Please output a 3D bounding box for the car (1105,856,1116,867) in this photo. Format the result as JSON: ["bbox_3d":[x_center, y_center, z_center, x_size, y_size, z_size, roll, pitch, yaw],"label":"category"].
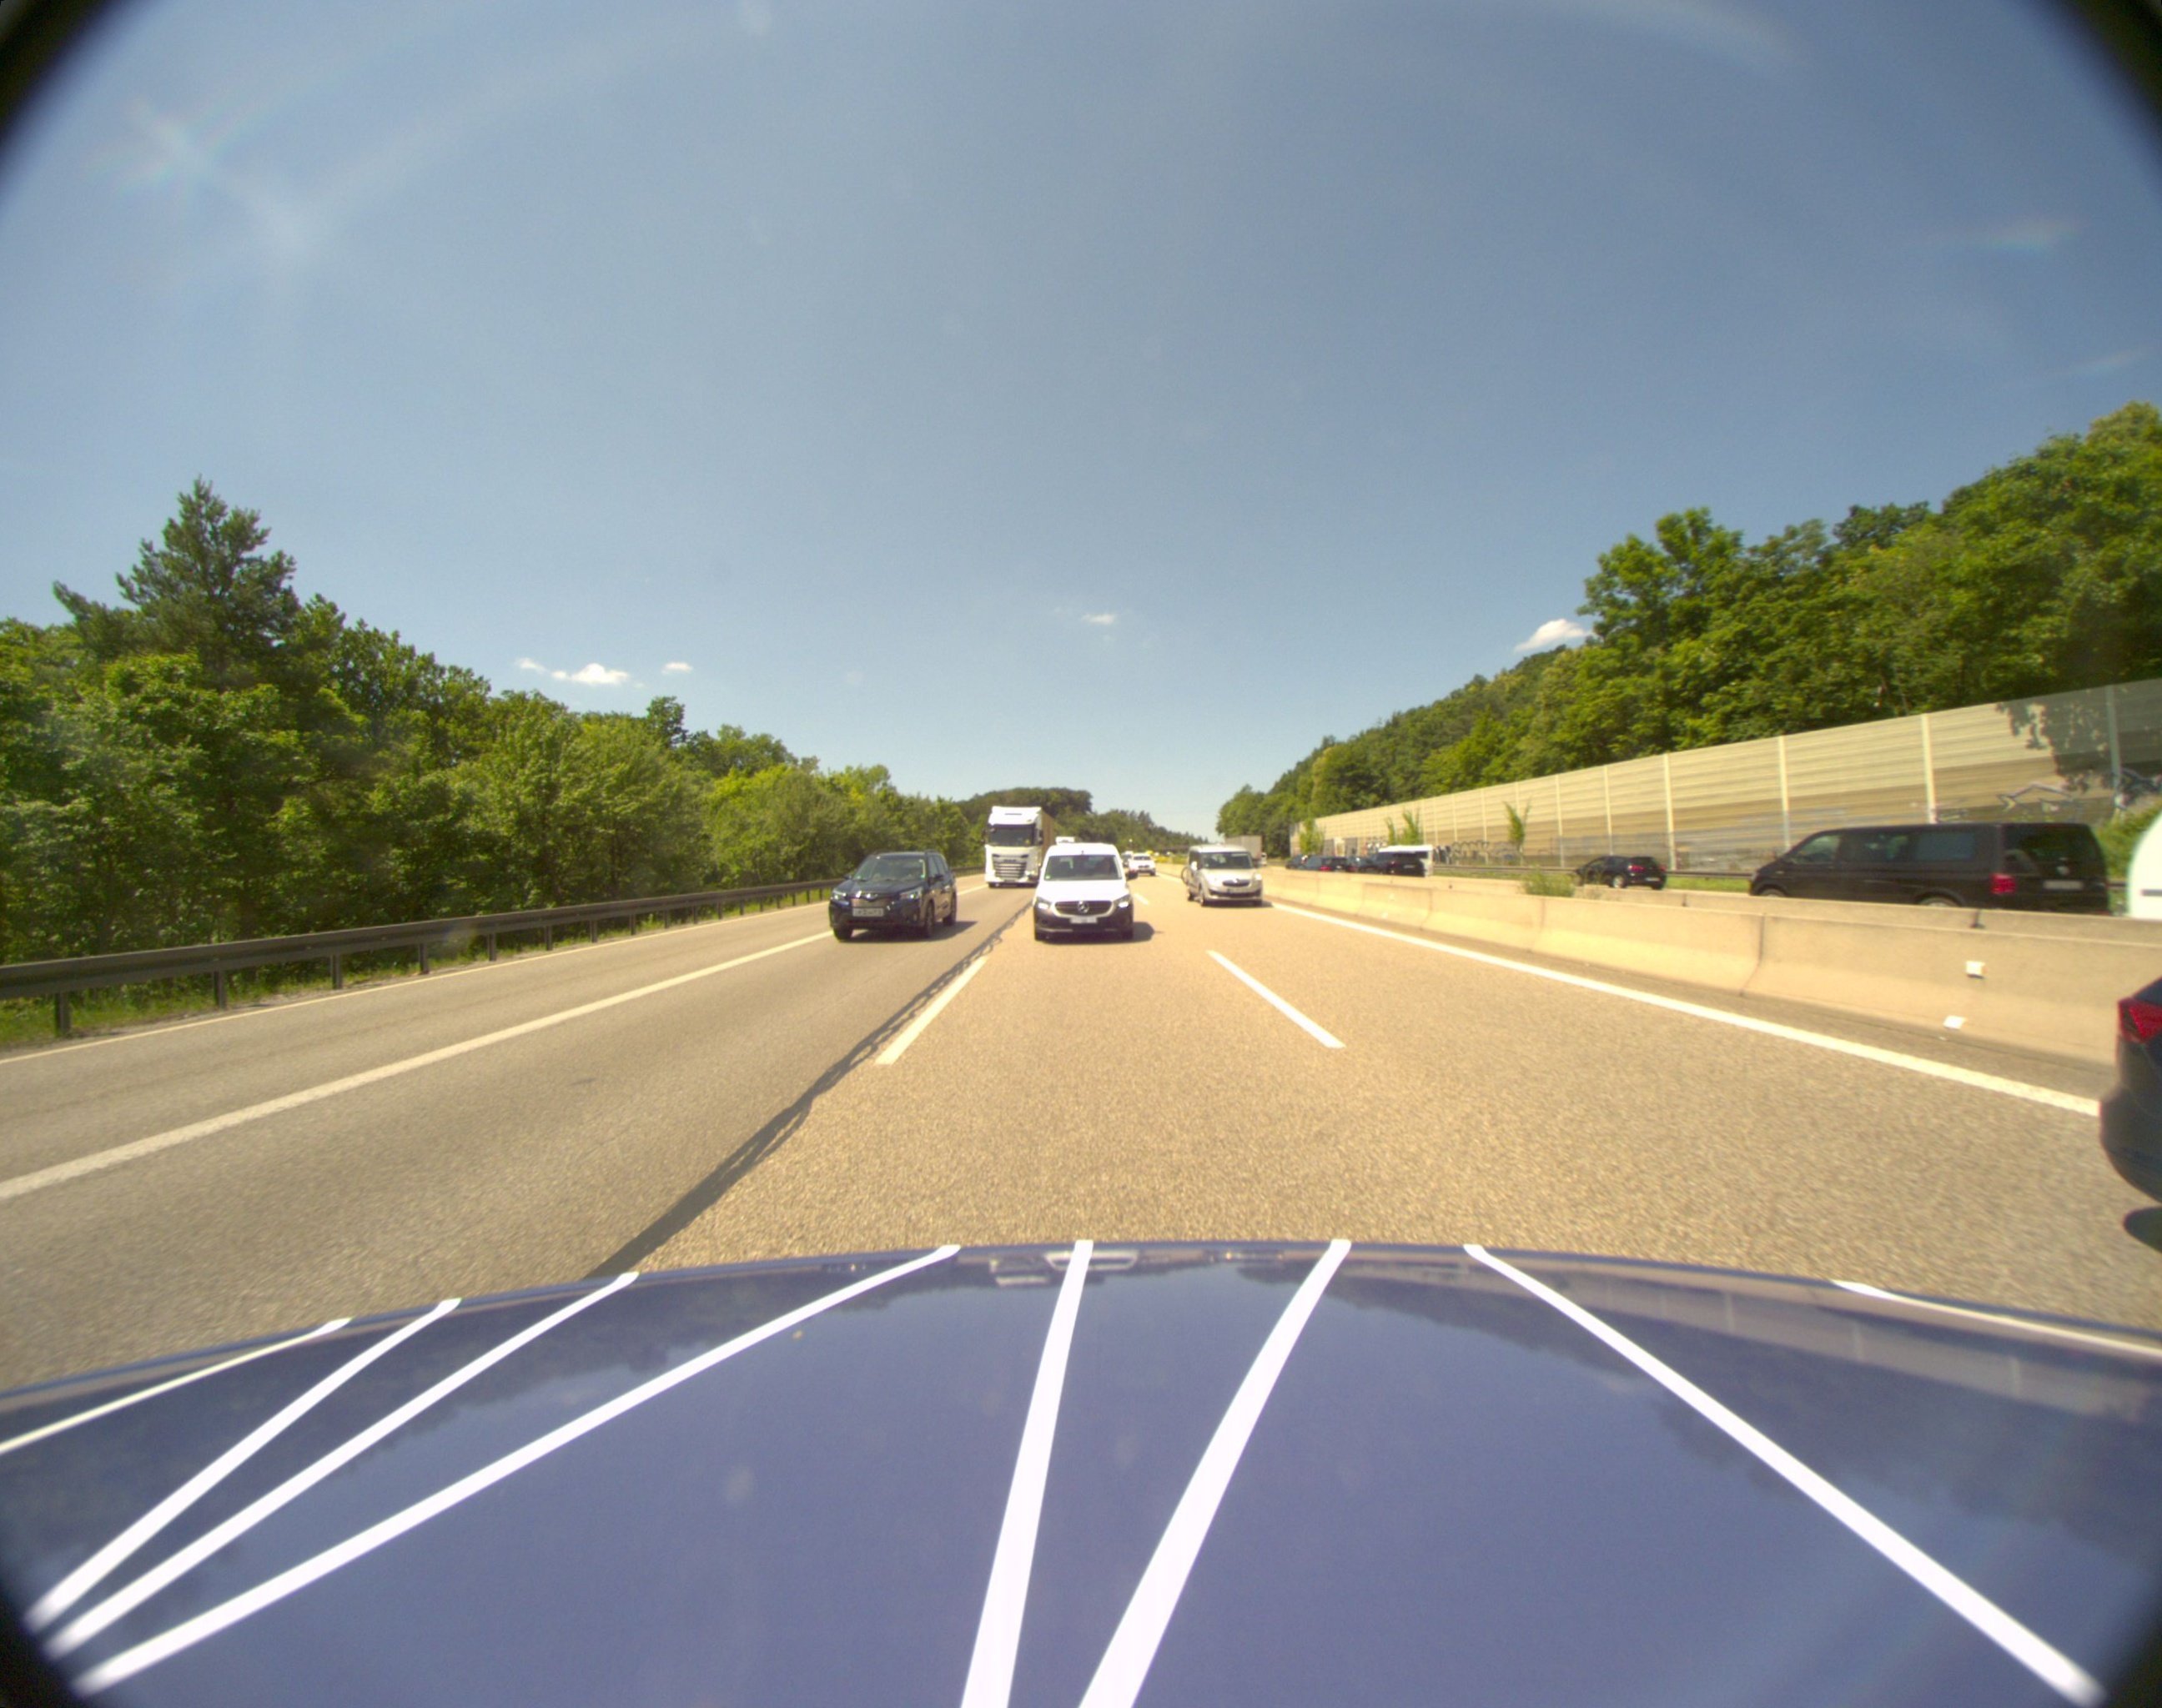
[{"bbox_3d":[5.254,1.346,136.185,1.902,2.002,4.000,0,0,2],"label":"car"}]

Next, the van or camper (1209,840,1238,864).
[{"bbox_3d":[16.790,-0.286,89.897,2.275,2.720,6.805,0,1,0],"label":"van or camper"}]

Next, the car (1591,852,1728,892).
[{"bbox_3d":[22.919,0.660,30.385,1.952,1.427,4.693,0,1,1],"label":"car"}]

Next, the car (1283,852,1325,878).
[{"bbox_3d":[15.418,0.727,52.699,1.697,1.673,4.196,-1,0,1],"label":"car"}]

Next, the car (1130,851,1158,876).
[{"bbox_3d":[4.665,0.672,56.861,1.998,1.827,4.001,0,0,3],"label":"car"}]

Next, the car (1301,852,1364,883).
[{"bbox_3d":[11.939,0.587,36.310,1.618,1.368,4.270,-1,0,1],"label":"car"}]

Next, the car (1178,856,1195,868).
[{"bbox_3d":[14.104,1.006,101.420,1.715,1.529,4.128,-1,0,0],"label":"car"}]

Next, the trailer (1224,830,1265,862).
[{"bbox_3d":[21.043,-1.051,98.831,2.819,3.886,13.827,0,1,2],"label":"trailer"}]

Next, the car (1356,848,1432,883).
[{"bbox_3d":[15.958,0.542,39.008,1.930,1.630,4.927,-1,0,1],"label":"car"}]

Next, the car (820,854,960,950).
[{"bbox_3d":[-3.749,0.866,15.697,1.816,1.658,4.203,0,1,0],"label":"car"}]

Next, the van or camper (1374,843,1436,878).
[{"bbox_3d":[18.944,0.343,44.603,2.081,1.965,3.704,0,0,0],"label":"van or camper"}]

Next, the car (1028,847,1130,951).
[{"bbox_3d":[0.105,0.744,15.113,1.729,1.760,4.314,0,1,4],"label":"car"}]

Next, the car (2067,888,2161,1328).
[{"bbox_3d":[4.345,0.827,0.332,1.737,1.419,4.730,-1,0,1],"label":"car"}]

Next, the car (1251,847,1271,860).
[{"bbox_3d":[25.578,-0.116,108.140,1.814,1.800,5.107,-1,0,1],"label":"car"}]

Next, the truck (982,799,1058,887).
[{"bbox_3d":[-3.148,-0.533,44.298,2.790,4.144,16.268,-1,0,1],"label":"truck"}]

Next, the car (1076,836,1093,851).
[{"bbox_3d":[0.639,-1.905,137.849,2.721,2.534,5.941,0,1,3],"label":"car"}]

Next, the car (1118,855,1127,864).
[{"bbox_3d":[9.428,1.205,172.670,1.998,2.002,4.001,0,0,3],"label":"car"}]

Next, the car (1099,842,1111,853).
[{"bbox_3d":[5.723,-1.570,182.721,2.721,2.534,5.941,0,1,3],"label":"car"}]

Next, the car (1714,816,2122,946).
[{"bbox_3d":[15.073,0.393,14.326,1.998,2.002,5.192,0,1,1],"label":"car"}]

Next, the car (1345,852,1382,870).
[{"bbox_3d":[23.811,0.559,64.126,1.581,1.453,4.388,0,0,1],"label":"car"}]

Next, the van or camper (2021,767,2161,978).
[{"bbox_3d":[15.227,0.226,7.978,2.236,2.745,6.835,-1,0,0],"label":"van or camper"}]

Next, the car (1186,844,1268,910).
[{"bbox_3d":[4.341,0.640,23.152,1.780,1.833,4.000,0,0,1],"label":"car"}]

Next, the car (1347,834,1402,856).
[{"bbox_3d":[19.340,-0.586,50.289,1.805,1.339,4.723,-1,0,1],"label":"car"}]

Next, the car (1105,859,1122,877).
[{"bbox_3d":[3.878,1.671,90.962,1.998,2.002,4.000,-1,0,1],"label":"car"}]

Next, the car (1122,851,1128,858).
[{"bbox_3d":[12.107,0.064,209.818,1.678,2.002,3.907,0,0,1],"label":"car"}]

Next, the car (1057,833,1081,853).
[{"bbox_3d":[-1.514,-1.400,97.840,2.721,2.534,5.941,0,1,3],"label":"car"}]
